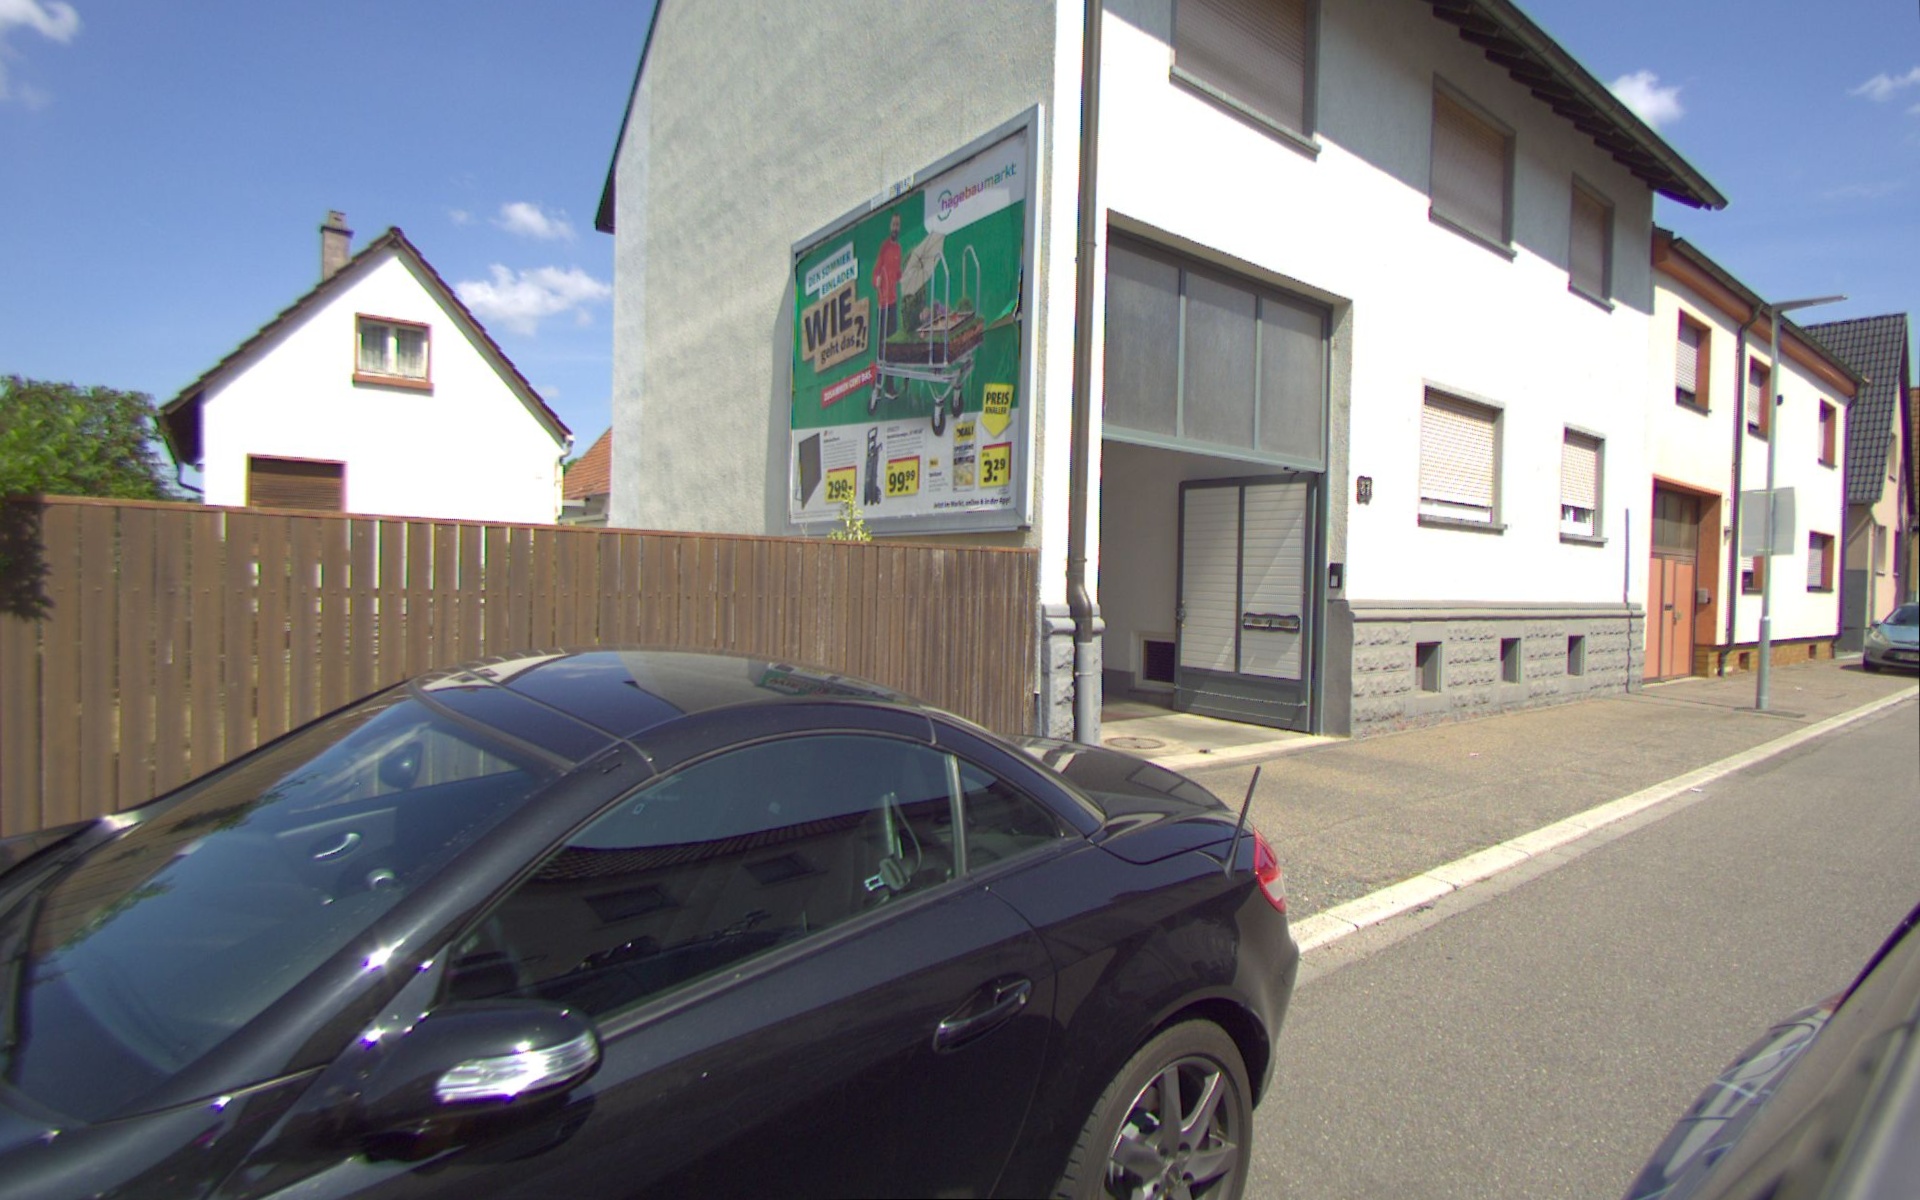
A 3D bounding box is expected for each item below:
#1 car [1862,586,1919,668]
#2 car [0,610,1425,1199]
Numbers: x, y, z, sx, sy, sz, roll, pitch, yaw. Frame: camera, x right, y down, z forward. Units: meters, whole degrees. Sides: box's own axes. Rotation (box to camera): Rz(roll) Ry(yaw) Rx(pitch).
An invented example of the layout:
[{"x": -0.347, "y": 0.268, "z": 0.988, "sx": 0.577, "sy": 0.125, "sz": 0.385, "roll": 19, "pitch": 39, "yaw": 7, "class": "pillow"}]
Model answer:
[{"x": 19.806, "y": 0.542, "z": 20.313, "sx": 3.679, "sy": 1.499, "sz": 1.728, "roll": 0, "pitch": 5, "yaw": -37, "class": "car"}, {"x": -0.988, "y": 0.716, "z": 1.920, "sx": 4.073, "sy": 1.291, "sz": 1.820, "roll": 0, "pitch": 2, "yaw": -40, "class": "car"}]
